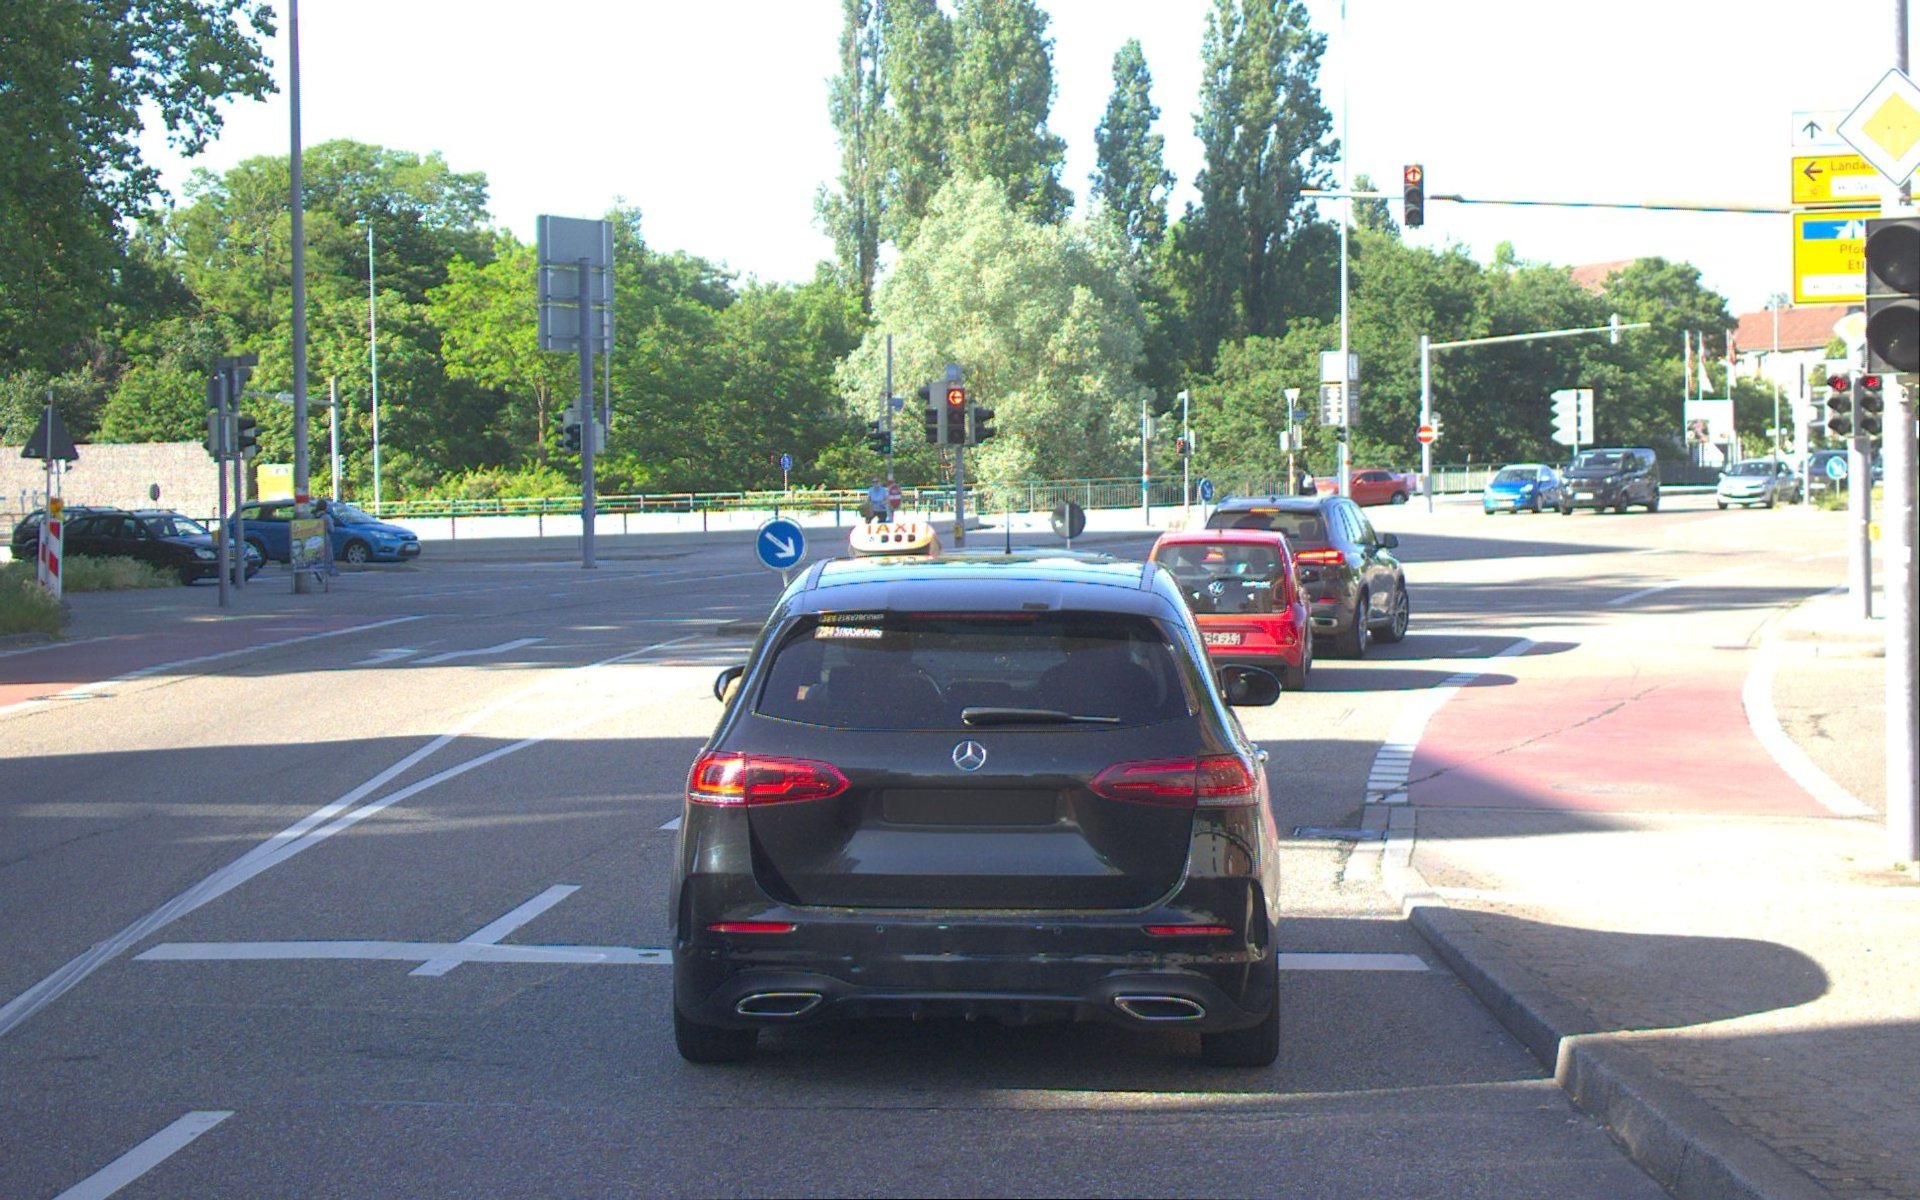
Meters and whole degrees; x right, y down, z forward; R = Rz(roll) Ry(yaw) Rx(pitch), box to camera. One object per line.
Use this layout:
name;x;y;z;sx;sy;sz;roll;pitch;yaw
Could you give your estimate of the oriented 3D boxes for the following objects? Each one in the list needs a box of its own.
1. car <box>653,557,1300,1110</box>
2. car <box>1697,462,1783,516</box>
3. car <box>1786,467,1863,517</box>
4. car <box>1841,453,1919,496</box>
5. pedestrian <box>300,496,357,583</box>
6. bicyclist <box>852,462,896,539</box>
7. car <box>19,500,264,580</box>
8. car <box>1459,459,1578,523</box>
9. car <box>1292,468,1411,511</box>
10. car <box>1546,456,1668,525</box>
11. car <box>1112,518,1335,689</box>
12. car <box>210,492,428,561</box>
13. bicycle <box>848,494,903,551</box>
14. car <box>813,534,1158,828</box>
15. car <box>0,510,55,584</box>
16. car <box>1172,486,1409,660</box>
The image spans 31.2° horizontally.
car;-0.001;0.631;11.408;1.751;1.488;4.000;1;0;-1
car;23.556;-3.360;103.720;1.822;1.577;4.099;0;2;23
car;28.323;-3.561;112.594;1.725;1.577;3.999;0;2;25
car;32.417;-4.371;120.133;1.997;1.448;3.993;1;2;32
pedestrian;-11.781;-1.121;64.163;0.686;1.533;1.366;1;-2;4
bicyclist;-1.933;-2.232;77.271;0.687;1.695;1.197;0;3;12
car;-15.630;-1.142;65.608;4.443;1.433;1.823;0;2;29
car;17.073;-3.331;104.887;1.997;1.858;4.844;0;3;30
car;14.559;-4.106;127.872;3.987;1.543;2.000;-2;3;-29
car;18.985;-3.216;100.734;1.997;1.928;4.844;0;3;30
car;2.618;-0.017;33.412;1.821;1.474;3.999;2;2;9
car;-14.060;-1.613;75.412;4.442;1.433;1.824;0;2;25
bicycle;-1.894;-1.752;77.429;0.687;1.198;2.326;0;3;12
car;0.247;0.398;20.414;1.820;1.484;4.000;-1;2;3
car;-20.664;-1.059;69.696;4.443;1.433;1.823;0;2;29
car;3.799;-0.364;38.859;1.870;1.784;4.411;2;3;16
